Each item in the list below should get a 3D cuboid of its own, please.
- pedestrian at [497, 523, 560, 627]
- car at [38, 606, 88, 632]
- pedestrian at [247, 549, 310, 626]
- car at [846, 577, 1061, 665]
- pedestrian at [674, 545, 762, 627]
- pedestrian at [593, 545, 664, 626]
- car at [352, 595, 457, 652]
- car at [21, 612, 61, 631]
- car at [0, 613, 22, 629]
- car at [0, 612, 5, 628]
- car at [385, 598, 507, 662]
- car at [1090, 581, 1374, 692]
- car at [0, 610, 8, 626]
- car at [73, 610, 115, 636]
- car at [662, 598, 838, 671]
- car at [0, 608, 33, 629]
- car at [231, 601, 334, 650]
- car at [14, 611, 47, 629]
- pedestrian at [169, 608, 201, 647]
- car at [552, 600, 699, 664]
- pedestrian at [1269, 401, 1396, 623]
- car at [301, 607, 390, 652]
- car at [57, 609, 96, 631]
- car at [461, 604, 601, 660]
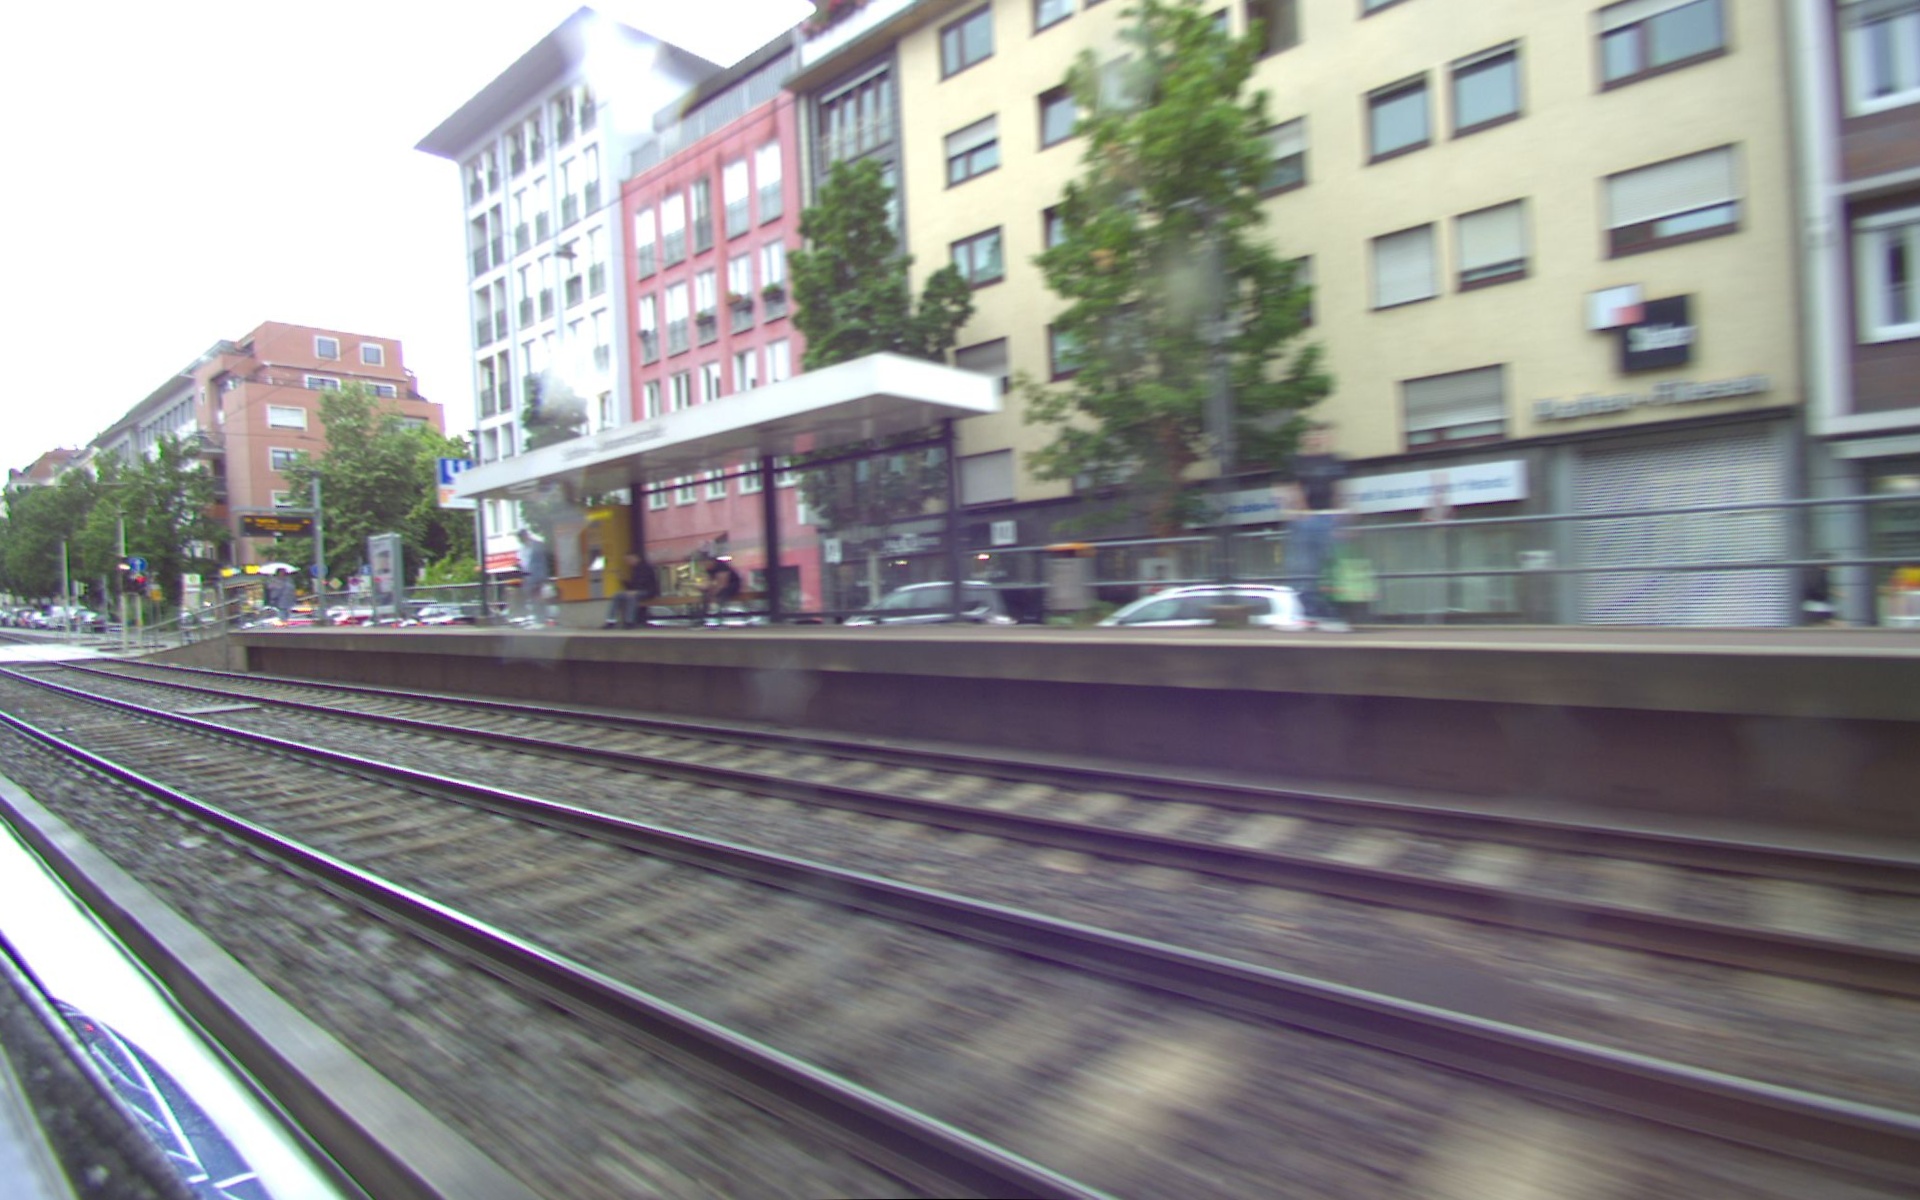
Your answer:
[{"bbox_3d":[-7.347,-0.411,17.232,0.849,1.724,0.649,-1,0,39],"label":"pedestrian"},{"bbox_3d":[-69.339,1.432,78.196,5.249,1.858,1.889,0,1,37],"label":"car"},{"bbox_3d":[-18.652,-0.329,27.701,1.382,2.029,1.104,0,0,41],"label":"pedestrian"},{"bbox_3d":[-0.174,0.358,18.258,3.731,1.447,1.553,-1,0,38],"label":"car"},{"bbox_3d":[-3.496,-0.197,14.648,0.847,1.132,0.886,-1,0,30],"label":"pedestrian"},{"bbox_3d":[-5.340,-0.225,16.301,0.883,1.258,0.686,-1,0,39],"label":"pedestrian"},{"bbox_3d":[-19.604,0.810,35.653,4.315,1.872,1.691,-1,0,39],"label":"car"},{"bbox_3d":[-76.256,1.771,83.954,4.524,1.473,1.676,0,1,38],"label":"car"},{"bbox_3d":[-90.920,1.953,96.497,4.726,1.451,1.622,0,1,40],"label":"car"},{"bbox_3d":[-95.362,1.996,99.614,4.021,1.549,1.621,0,1,41],"label":"car"},{"bbox_3d":[-16.283,0.914,31.996,4.375,1.872,1.785,-1,0,39],"label":"car"},{"bbox_3d":[3.935,0.488,14.923,3.731,1.447,1.553,-1,0,38],"label":"car"},{"bbox_3d":[-99.435,1.830,104.156,4.334,1.596,1.641,0,1,40],"label":"car"},{"bbox_3d":[-59.998,1.571,70.107,4.369,1.636,1.621,0,1,41],"label":"car"},{"bbox_3d":[-4.714,0.728,22.489,3.973,1.447,1.657,-1,0,38],"label":"car"},{"bbox_3d":[-86.608,1.663,92.862,4.428,1.831,1.657,0,1,40],"label":"car"},{"bbox_3d":[-23.990,0.877,35.763,5.019,1.590,1.788,-1,0,42],"label":"car"},{"bbox_3d":[-82.053,1.762,89.301,3.801,1.550,1.622,0,1,40],"label":"car"},{"bbox_3d":[-35.583,1.243,46.471,0.983,1.709,0.813,-1,2,33],"label":"pedestrian"},{"bbox_3d":[-8.444,0.774,25.414,3.973,1.447,1.553,-1,0,38],"label":"car"},{"bbox_3d":[3.243,-0.721,8.812,0.849,1.815,0.649,-1,0,39],"label":"pedestrian"},{"bbox_3d":[-23.879,1.140,39.270,4.551,1.624,1.708,-2,0,42],"label":"car"},{"bbox_3d":[-64.763,1.432,74.158,4.369,1.548,1.621,0,1,41],"label":"car"},{"bbox_3d":[-12.340,0.890,29.037,4.313,1.447,1.823,-1,0,38],"label":"car"}]
